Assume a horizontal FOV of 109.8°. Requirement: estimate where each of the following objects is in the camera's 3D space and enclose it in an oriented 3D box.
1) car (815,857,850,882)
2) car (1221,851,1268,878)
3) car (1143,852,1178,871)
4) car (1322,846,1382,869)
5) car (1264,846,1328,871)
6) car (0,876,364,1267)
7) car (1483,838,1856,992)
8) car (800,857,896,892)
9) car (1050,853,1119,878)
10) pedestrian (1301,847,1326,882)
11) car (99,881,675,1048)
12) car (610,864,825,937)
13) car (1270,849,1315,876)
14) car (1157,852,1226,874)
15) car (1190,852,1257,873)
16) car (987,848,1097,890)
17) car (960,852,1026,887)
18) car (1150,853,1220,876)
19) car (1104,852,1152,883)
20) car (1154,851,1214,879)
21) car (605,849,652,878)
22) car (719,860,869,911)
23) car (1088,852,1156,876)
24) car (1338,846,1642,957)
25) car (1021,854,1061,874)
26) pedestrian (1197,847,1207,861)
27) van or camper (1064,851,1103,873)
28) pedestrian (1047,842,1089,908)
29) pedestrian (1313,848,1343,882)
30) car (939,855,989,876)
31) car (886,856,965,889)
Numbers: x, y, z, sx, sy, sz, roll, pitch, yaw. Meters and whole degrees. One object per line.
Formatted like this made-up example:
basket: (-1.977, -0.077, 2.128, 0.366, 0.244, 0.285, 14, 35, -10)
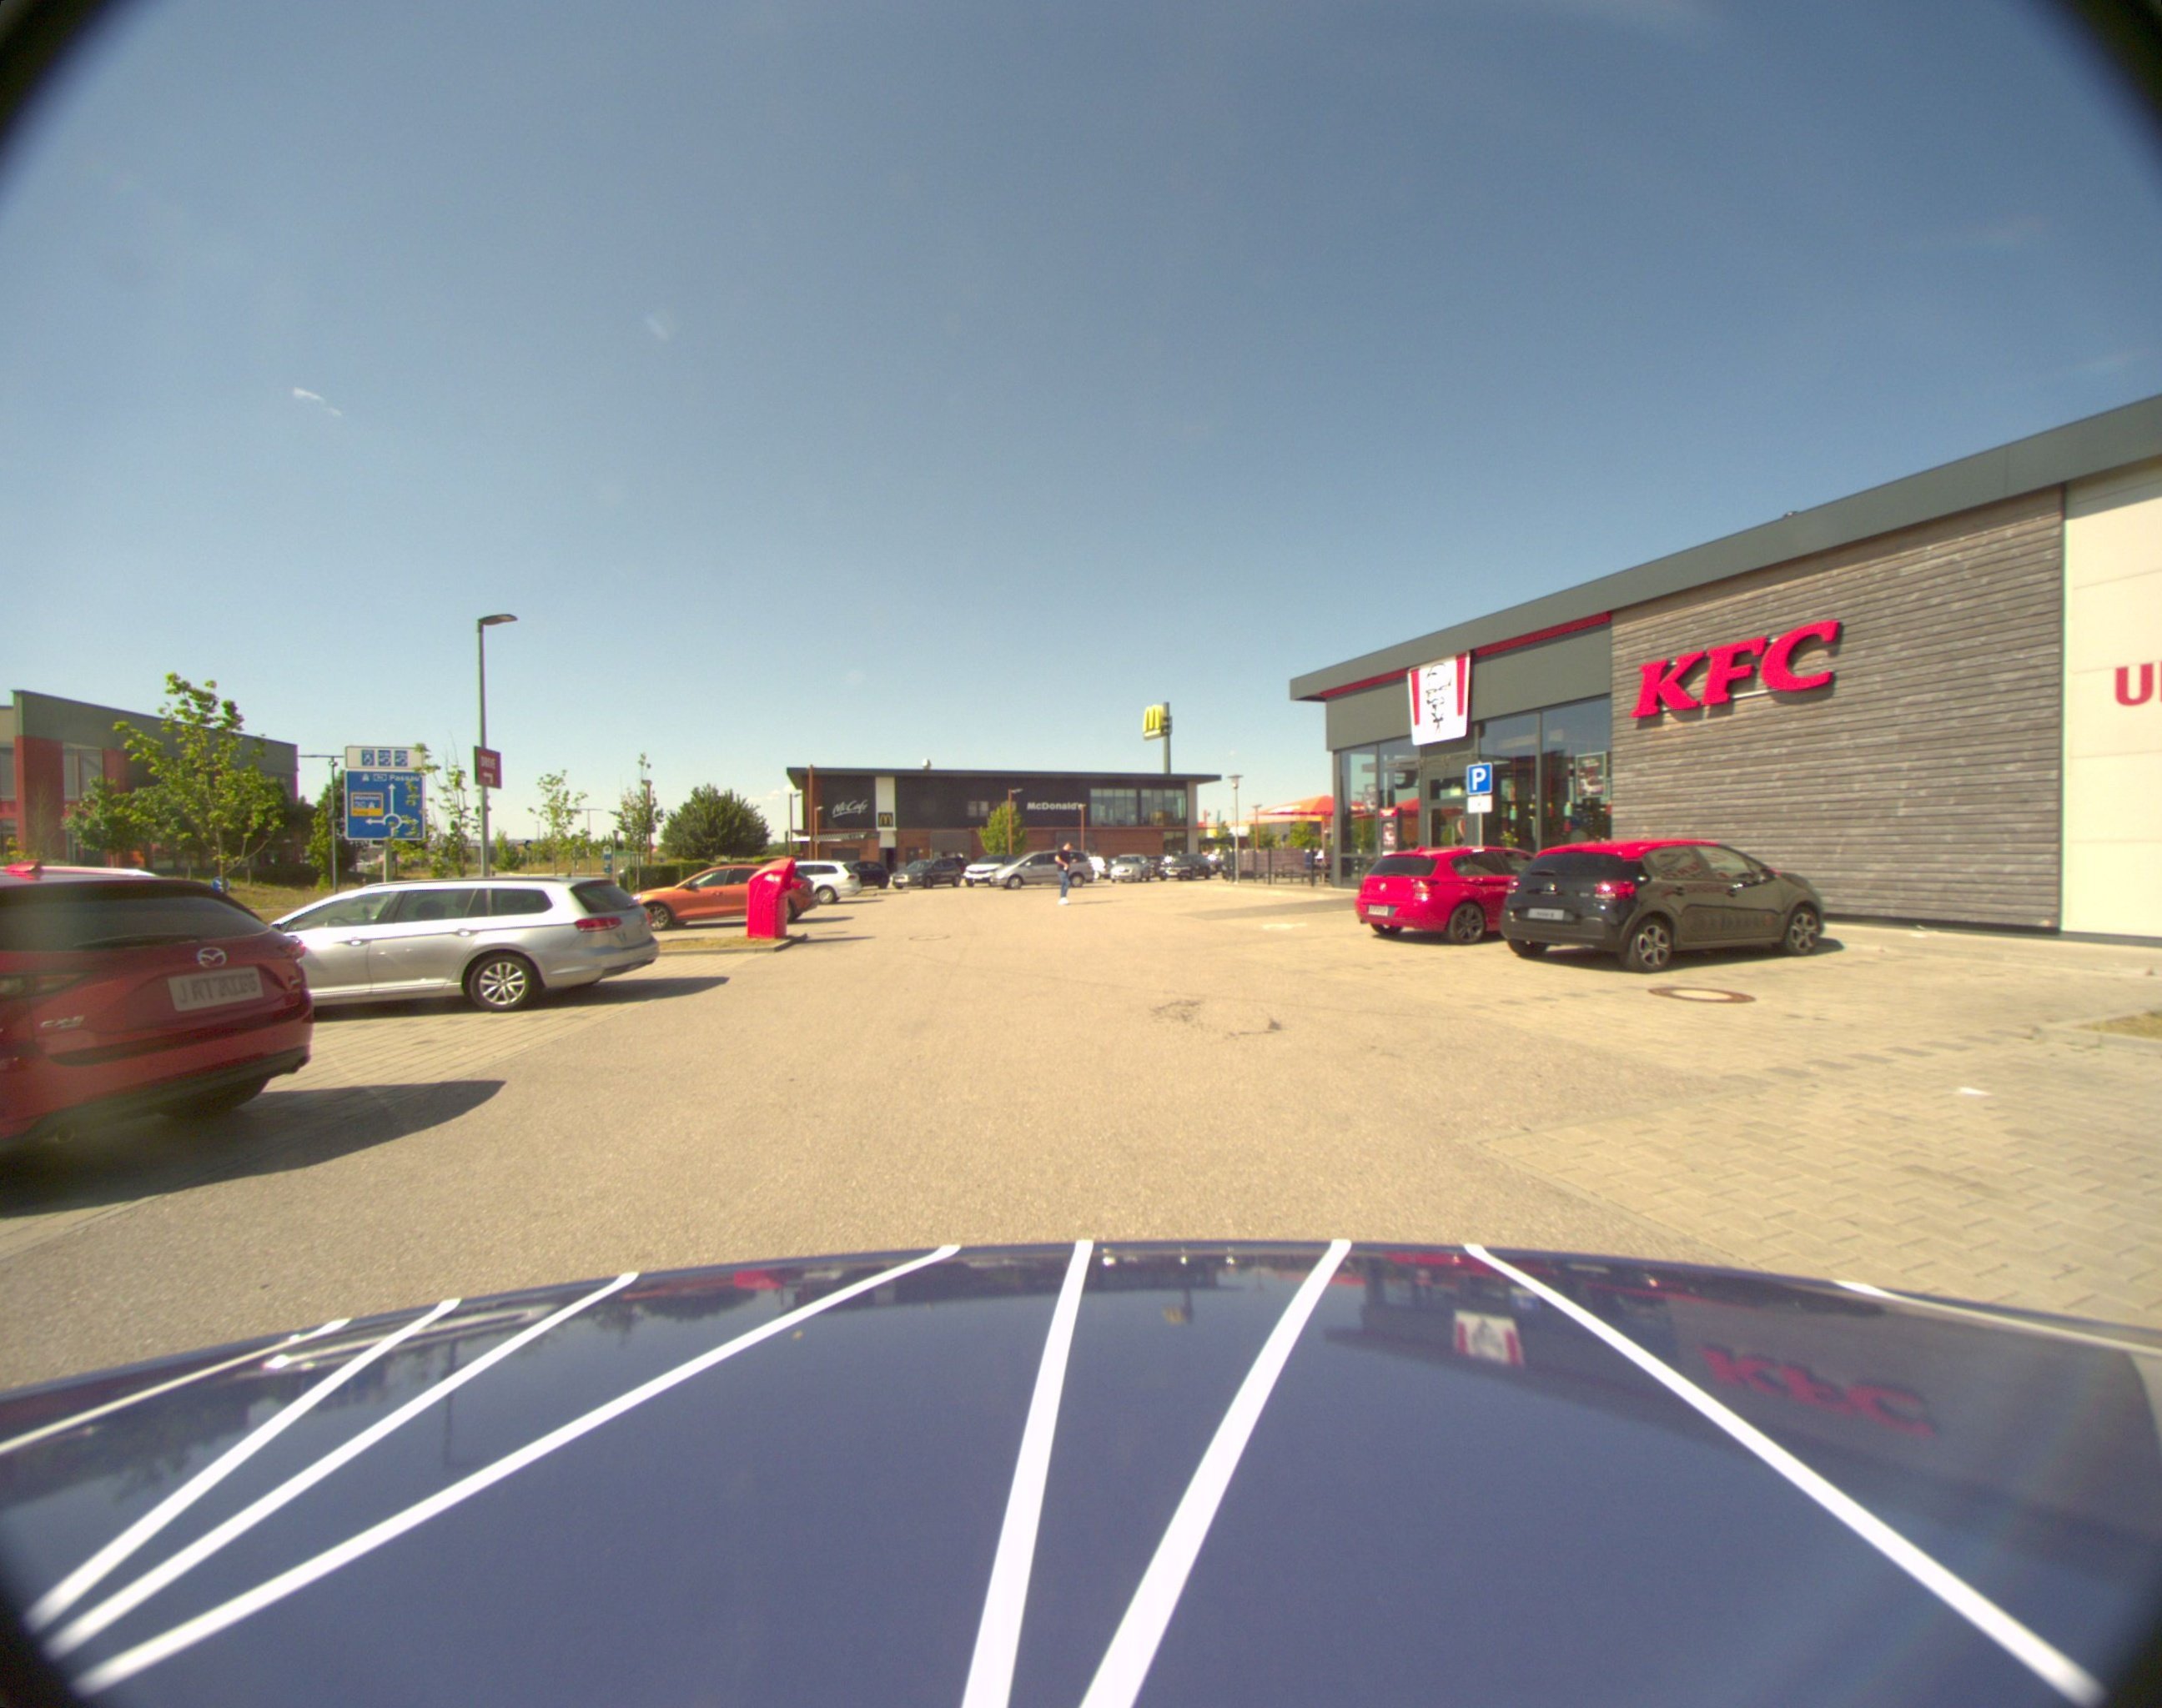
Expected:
car: (-17.332, 1.035, 52.855, 1.999, 1.681, 4.228, -1, 0, -22)
car: (9.332, 0.586, 43.081, 1.832, 1.451, 4.377, -1, 0, 23)
car: (6.902, 0.625, 65.611, 1.713, 1.603, 4.043, -1, 0, 26)
car: (19.858, 0.264, 55.749, 3.990, 1.543, 1.758, -1, 0, 25)
car: (15.544, 0.347, 55.021, 4.104, 1.664, 1.816, -1, 0, 28)
car: (-6.866, 1.033, 3.923, 4.230, 1.628, 1.950, -2, 1, -6)
car: (7.200, 0.629, 9.356, 3.911, 1.497, 1.738, -2, 1, -19)
car: (-11.074, 0.939, 36.451, 1.970, 1.517, 4.341, -1, 0, 26)
car: (0.220, 0.737, 49.104, 4.104, 1.484, 1.715, -1, 0, 28)
pedestrian: (8.675, 0.398, 28.341, 0.625, 1.266, 0.612, -1, 0, -34)
car: (-7.430, 1.123, 8.615, 4.601, 1.405, 1.739, -2, 1, -7)
car: (-8.674, 1.073, 18.529, 4.354, 1.461, 1.831, -2, 1, -11)
car: (12.336, 0.464, 44.162, 1.832, 1.451, 4.592, -1, 0, 24)
car: (8.182, 0.688, 56.380, 4.633, 1.478, 1.899, -1, 0, 28)
car: (10.869, 0.643, 57.930, 4.633, 1.478, 1.899, -1, 0, 28)
car: (-1.793, 0.662, 34.733, 4.687, 1.738, 1.830, -1, 1, -19)
car: (-4.434, 0.745, 38.846, 1.972, 1.645, 4.212, -1, 0, 13)
car: (6.998, 0.697, 51.038, 4.269, 1.478, 1.816, -1, 0, 28)
car: (2.599, 0.704, 40.889, 1.972, 1.517, 4.211, -1, 0, 12)
car: (5.760, 0.583, 42.132, 1.970, 1.478, 4.791, -1, 0, 24)
car: (-35.323, 0.729, 59.458, 2.001, 2.184, 5.099, -1, 0, -17)
car: (-9.677, 1.018, 25.981, 4.482, 1.461, 1.831, -2, 1, -11)
car: (2.720, 0.659, 50.562, 4.104, 1.506, 1.816, -1, 0, 28)
car: (6.471, 0.654, 12.025, 4.405, 1.405, 1.737, -2, 1, -20)
car: (-3.234, 0.776, 62.253, 1.710, 1.506, 3.956, -1, 0, 22)
pedestrian: (12.847, 0.006, 80.499, 0.700, 1.550, 0.723, -1, 0, 43)
van or camper: (0.243, 0.636, 63.687, 1.707, 1.764, 4.035, -1, 0, 25)
pedestrian: (-0.372, 0.574, 21.567, 0.995, 1.798, 0.725, -2, 1, -15)
pedestrian: (9.356, 0.402, 28.732, 0.843, 1.266, 0.684, -1, 0, -34)
car: (-9.389, 0.885, 61.500, 1.958, 1.593, 4.475, -1, 0, 22)
car: (-7.631, 0.875, 37.708, 1.971, 1.517, 4.213, -1, 0, 19)
